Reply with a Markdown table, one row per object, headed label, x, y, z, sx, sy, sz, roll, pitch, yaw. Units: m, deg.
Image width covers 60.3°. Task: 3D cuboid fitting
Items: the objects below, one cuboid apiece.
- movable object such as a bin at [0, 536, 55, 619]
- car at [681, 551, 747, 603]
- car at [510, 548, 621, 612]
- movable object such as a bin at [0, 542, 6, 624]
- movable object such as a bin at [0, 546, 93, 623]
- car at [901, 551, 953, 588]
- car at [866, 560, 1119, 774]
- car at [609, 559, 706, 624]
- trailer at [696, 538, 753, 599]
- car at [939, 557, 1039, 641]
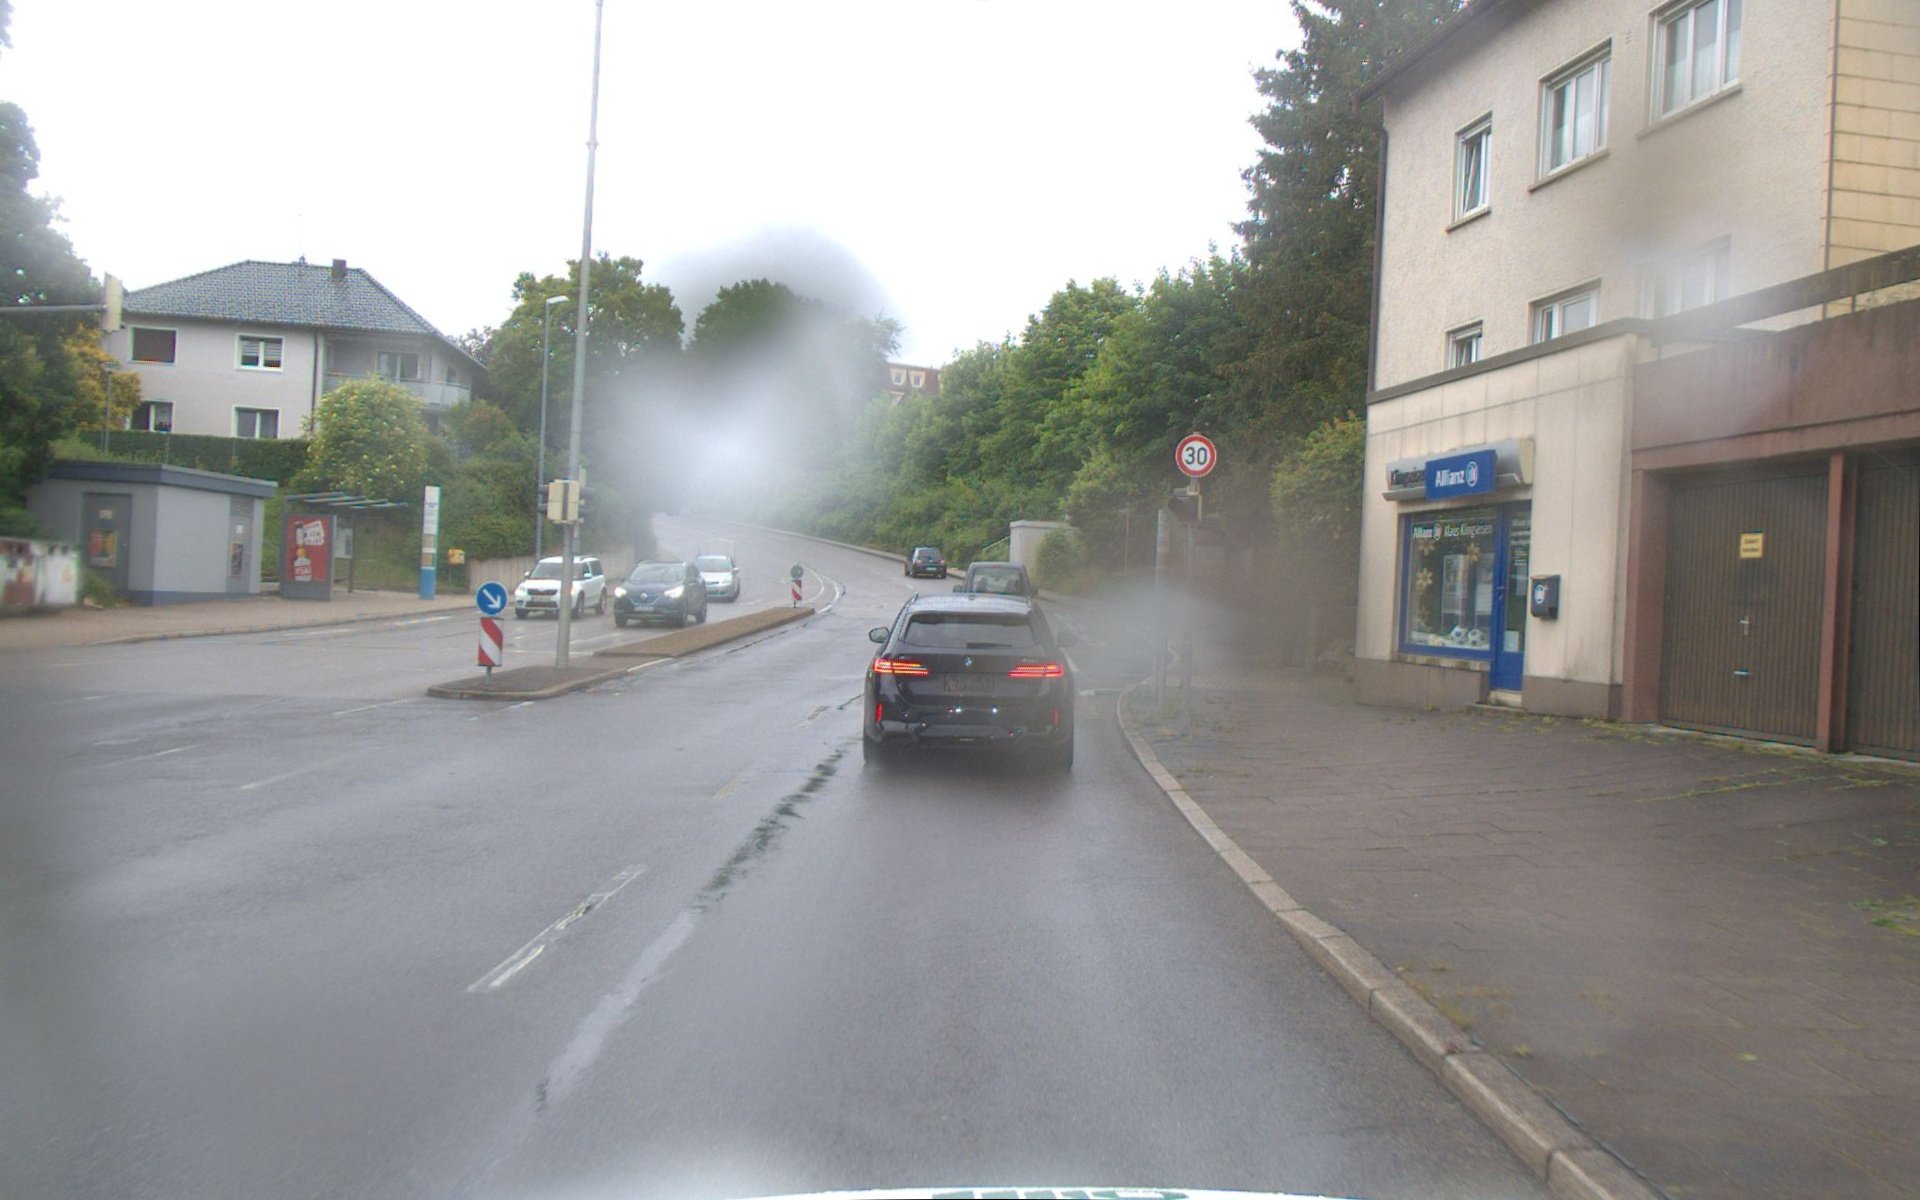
| label | x | y | z | sx | sy | sz | roll | pitch | yaw |
| --- | --- | --- | --- | --- | --- | --- | --- | --- | --- |
| movable object such as a bin | -19.615 | -0.481 | 33.163 | 2.014 | 1.596 | 1.582 | 1 | 2 | 4 |
| car | -8.760 | -0.867 | 59.223 | 1.861 | 1.712 | 4.478 | 1 | 2 | -3 |
| car | -10.962 | -0.538 | 46.251 | 1.785 | 1.686 | 4.468 | 1 | 0 | 3 |
| movable object such as a bin | -19.696 | -0.333 | 31.569 | 2.014 | 1.596 | 1.582 | 1 | 2 | 4 |
| movable object such as a bin | -19.533 | -0.340 | 34.649 | 2.014 | 1.541 | 1.345 | 1 | 2 | 4 |
| car | -1.683 | -1.547 | 82.045 | 1.819 | 1.690 | 3.989 | 2 | 1 | -12 |
| car | 0.146 | 0.584 | 15.474 | 1.954 | 1.614 | 4.660 | 3 | -1 | -3 |
| car | -7.783 | -0.228 | 42.854 | 1.804 | 1.579 | 4.382 | 1 | 0 | -2 |
| trailer | -9.018 | -1.186 | 63.529 | 1.859 | 2.217 | 4.032 | 1 | 1 | -4 |
| car | 0.607 | -0.065 | 37.974 | 1.954 | 1.779 | 3.998 | 1 | 1 | -4 |
